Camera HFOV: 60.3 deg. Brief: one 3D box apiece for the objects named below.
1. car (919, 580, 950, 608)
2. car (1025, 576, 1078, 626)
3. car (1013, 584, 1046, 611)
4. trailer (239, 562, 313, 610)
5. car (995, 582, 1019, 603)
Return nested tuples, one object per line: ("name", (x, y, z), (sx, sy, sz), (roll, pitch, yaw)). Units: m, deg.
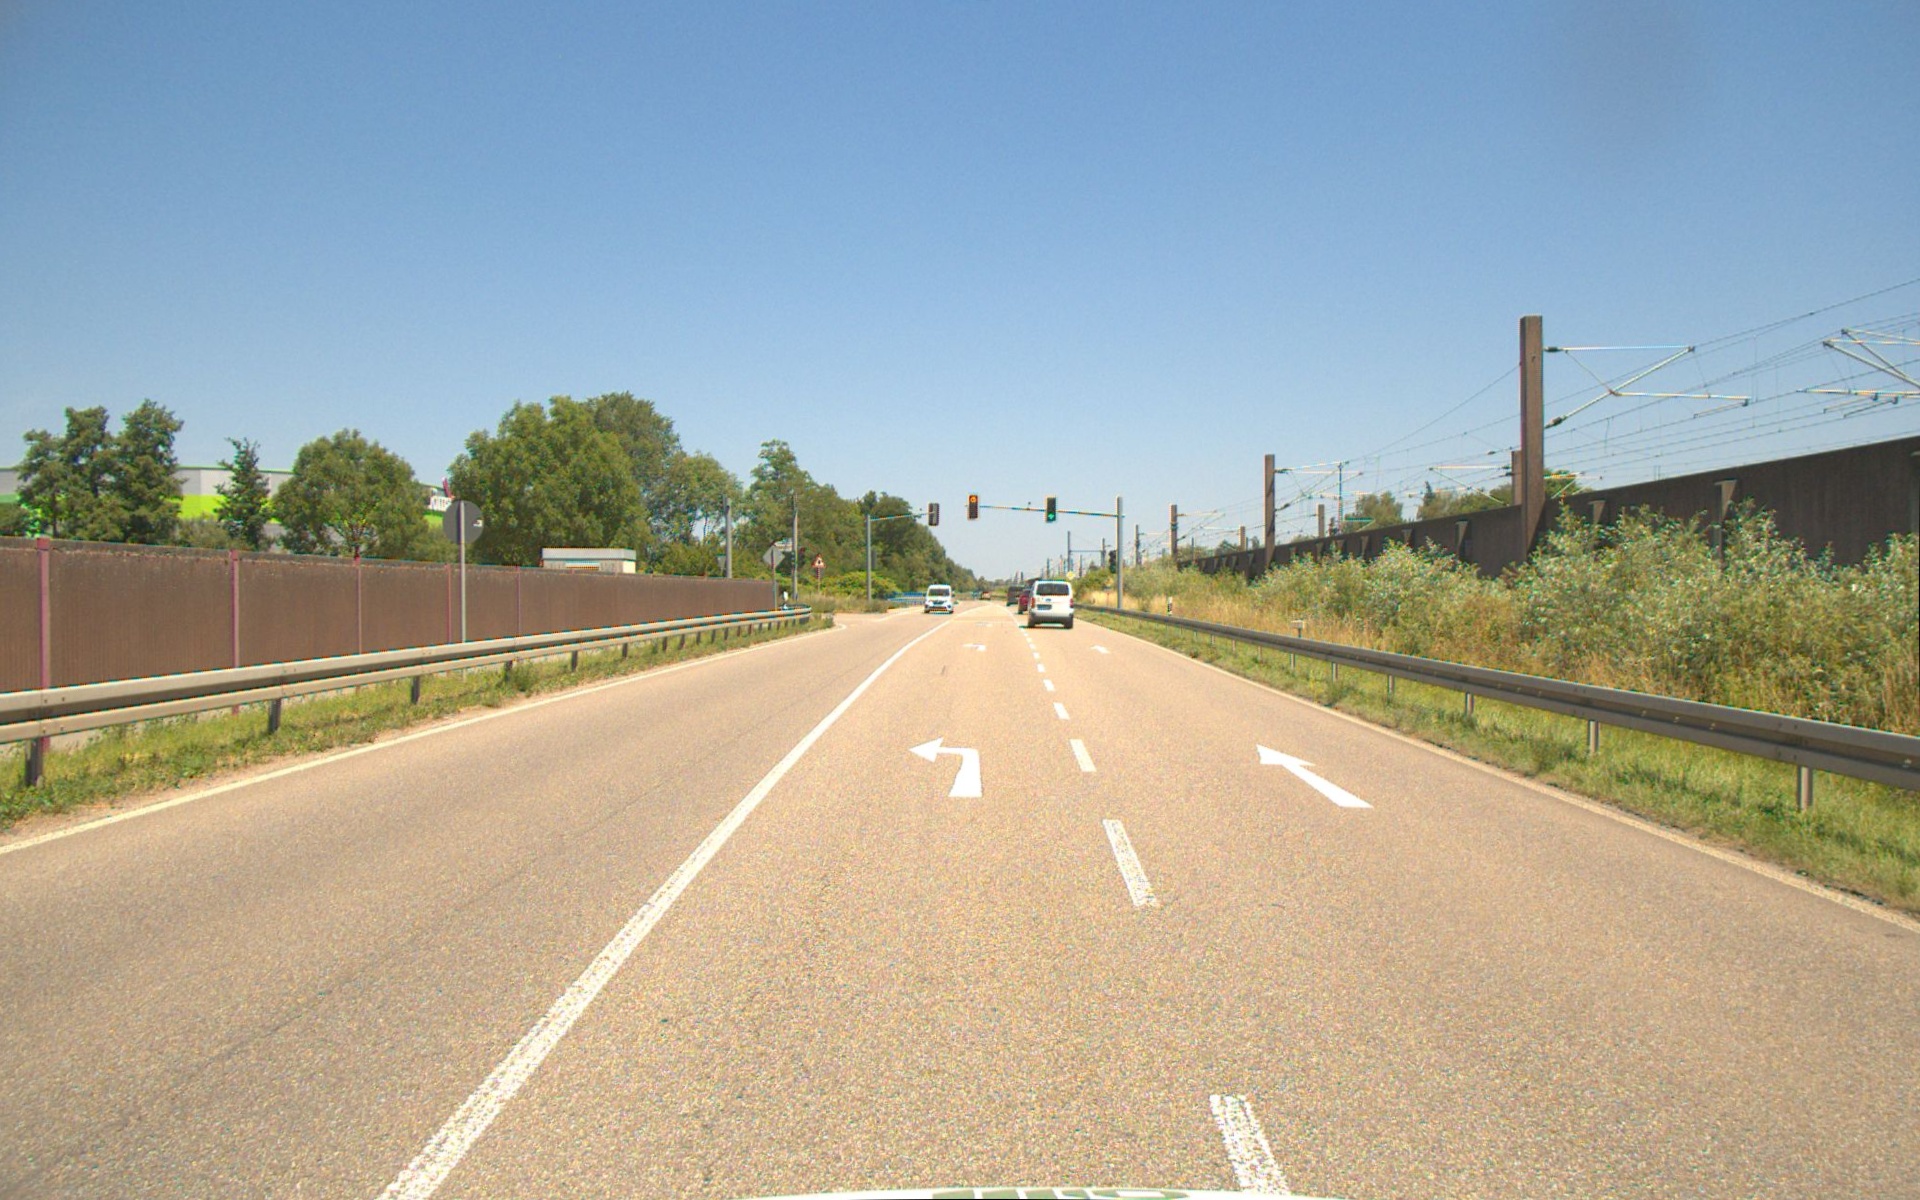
("car", (-1.681, -0.387, 106.648), (1.849, 1.770, 4.774), (1, 0, -3))
("car", (3.835, 0.029, 69.796), (1.953, 2.018, 4.060), (1, 1, 0))
("car", (4.576, -0.175, 109.289), (1.978, 1.756, 4.542), (1, 0, 0))
("trailer", (-41.013, -0.832, 99.172), (1.796, 2.813, 3.731), (0, 0, 45))
("car", (4.605, -0.720, 162.589), (2.111, 2.002, 4.542), (1, 0, 0))
